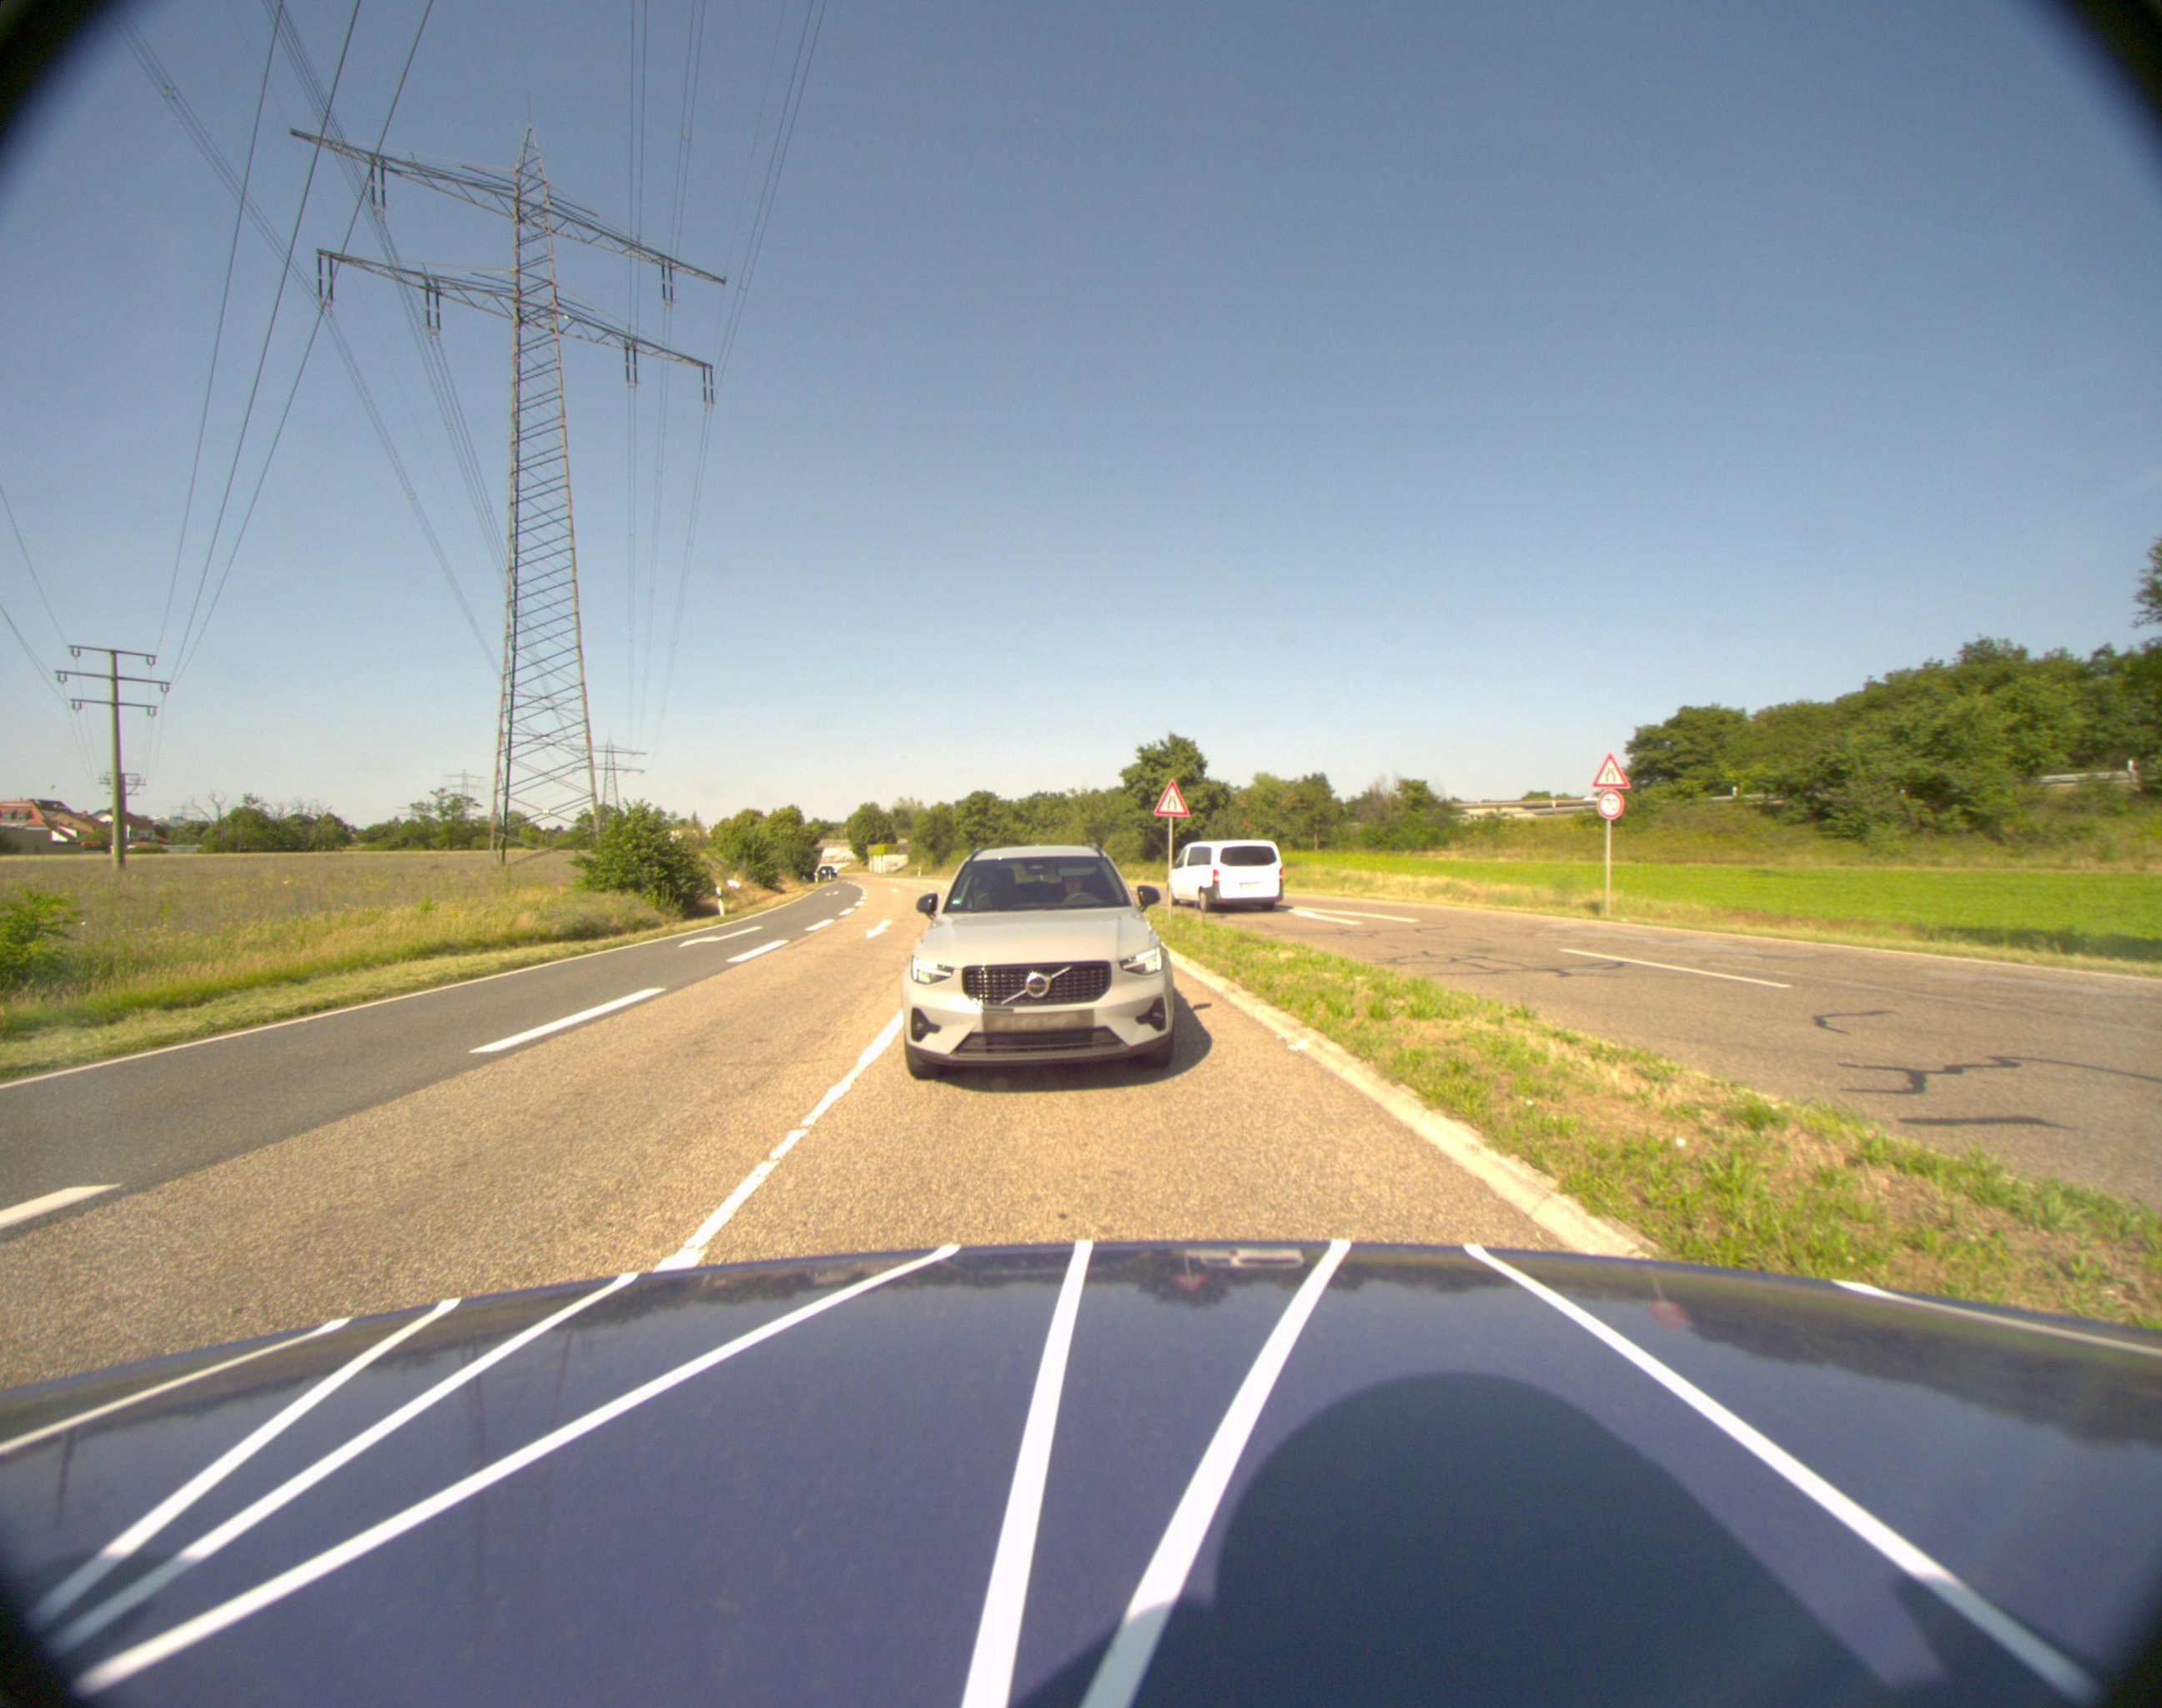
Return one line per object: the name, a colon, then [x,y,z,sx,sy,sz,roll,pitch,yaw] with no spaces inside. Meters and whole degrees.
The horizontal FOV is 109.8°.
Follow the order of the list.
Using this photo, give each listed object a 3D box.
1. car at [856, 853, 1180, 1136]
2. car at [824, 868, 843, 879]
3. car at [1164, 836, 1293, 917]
car: [-0.347,0.835,6.299,1.859,1.609,3.647,-2,0,1]
car: [-33.683,2.596,103.239,1.901,1.344,3.527,-3,1,-26]
car: [3.882,0.560,20.974,2.000,1.907,4.945,-2,0,-7]
